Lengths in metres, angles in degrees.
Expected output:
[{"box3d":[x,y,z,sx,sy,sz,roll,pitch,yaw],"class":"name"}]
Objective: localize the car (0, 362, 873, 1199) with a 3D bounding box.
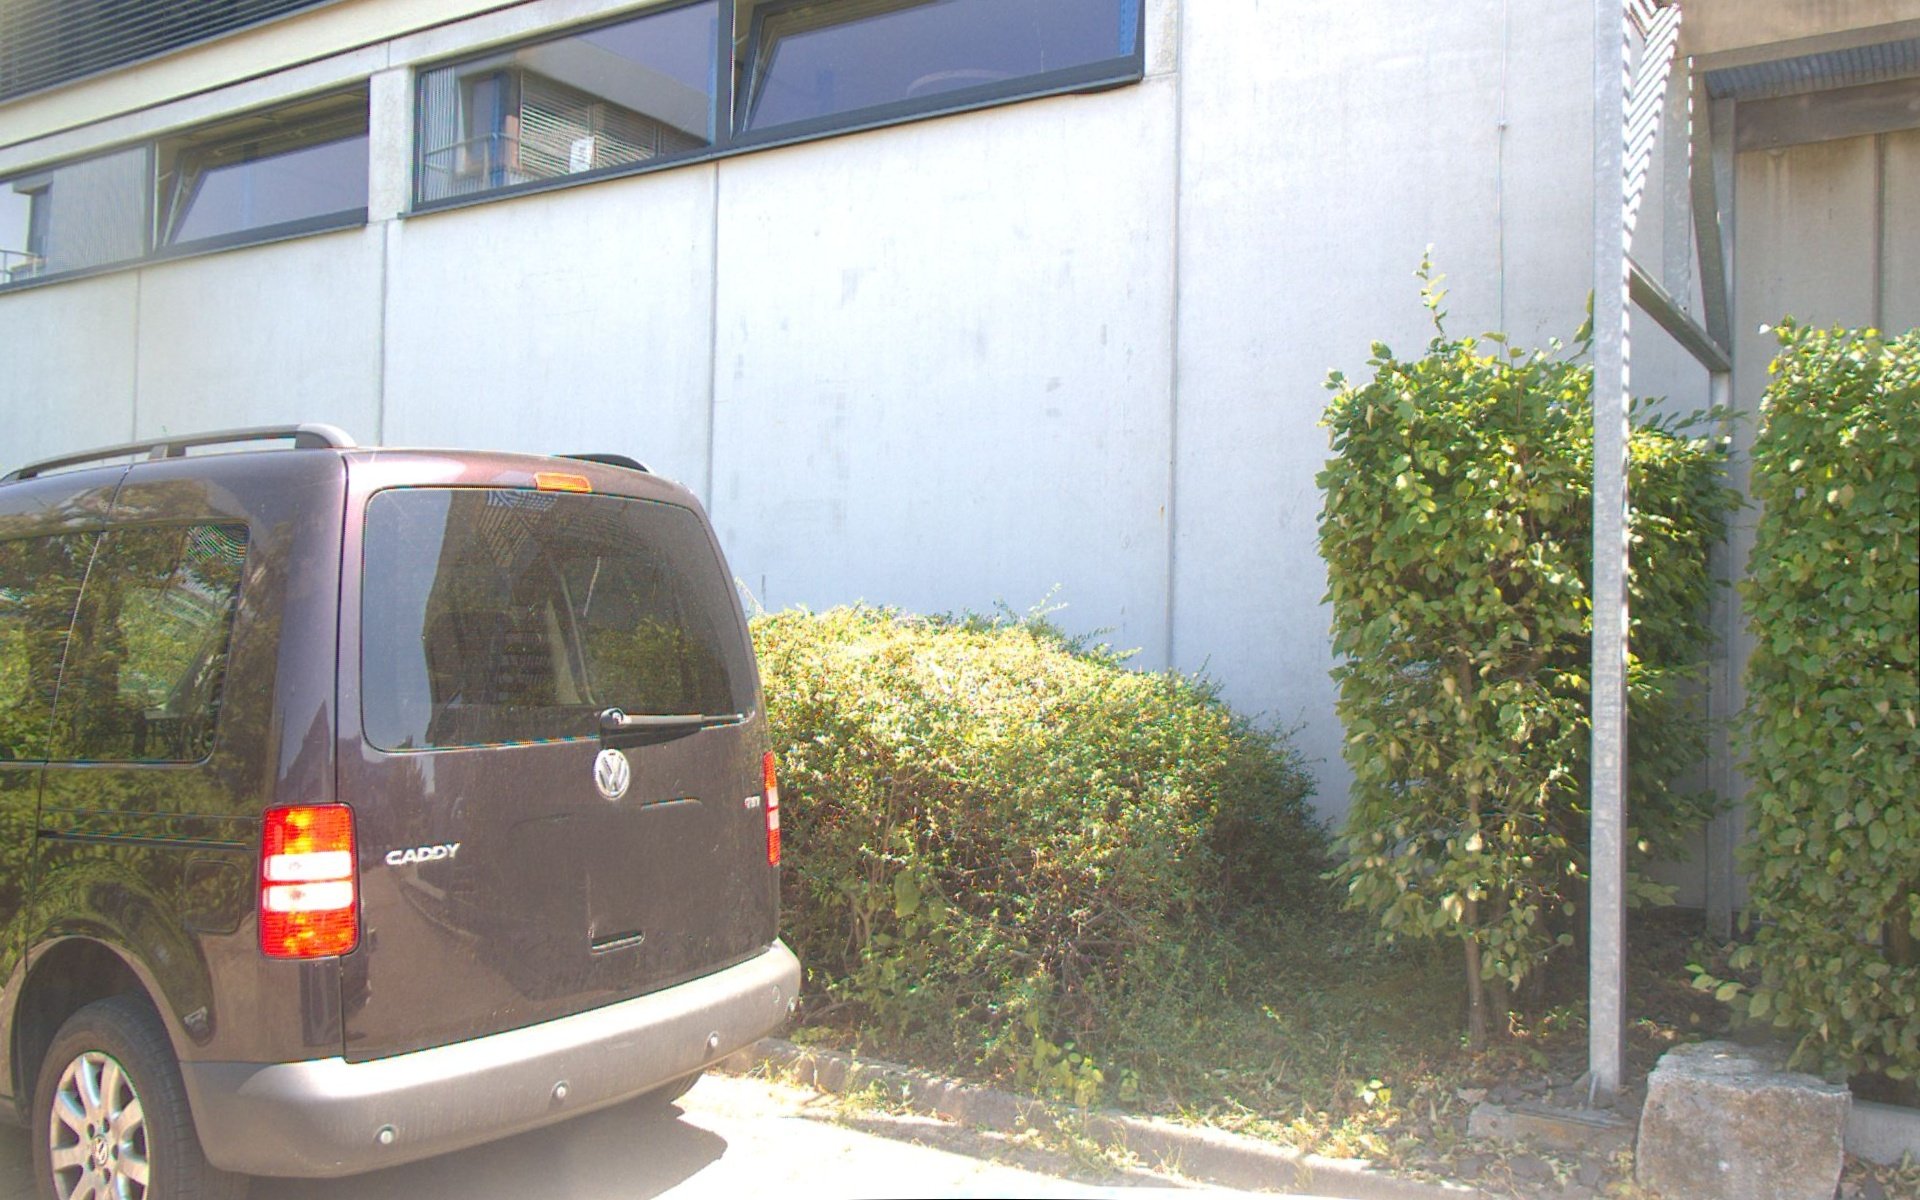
[{"box3d":[-2.350,0.509,4.891,3.987,1.917,1.673,0,0,34],"class":"car"}]
